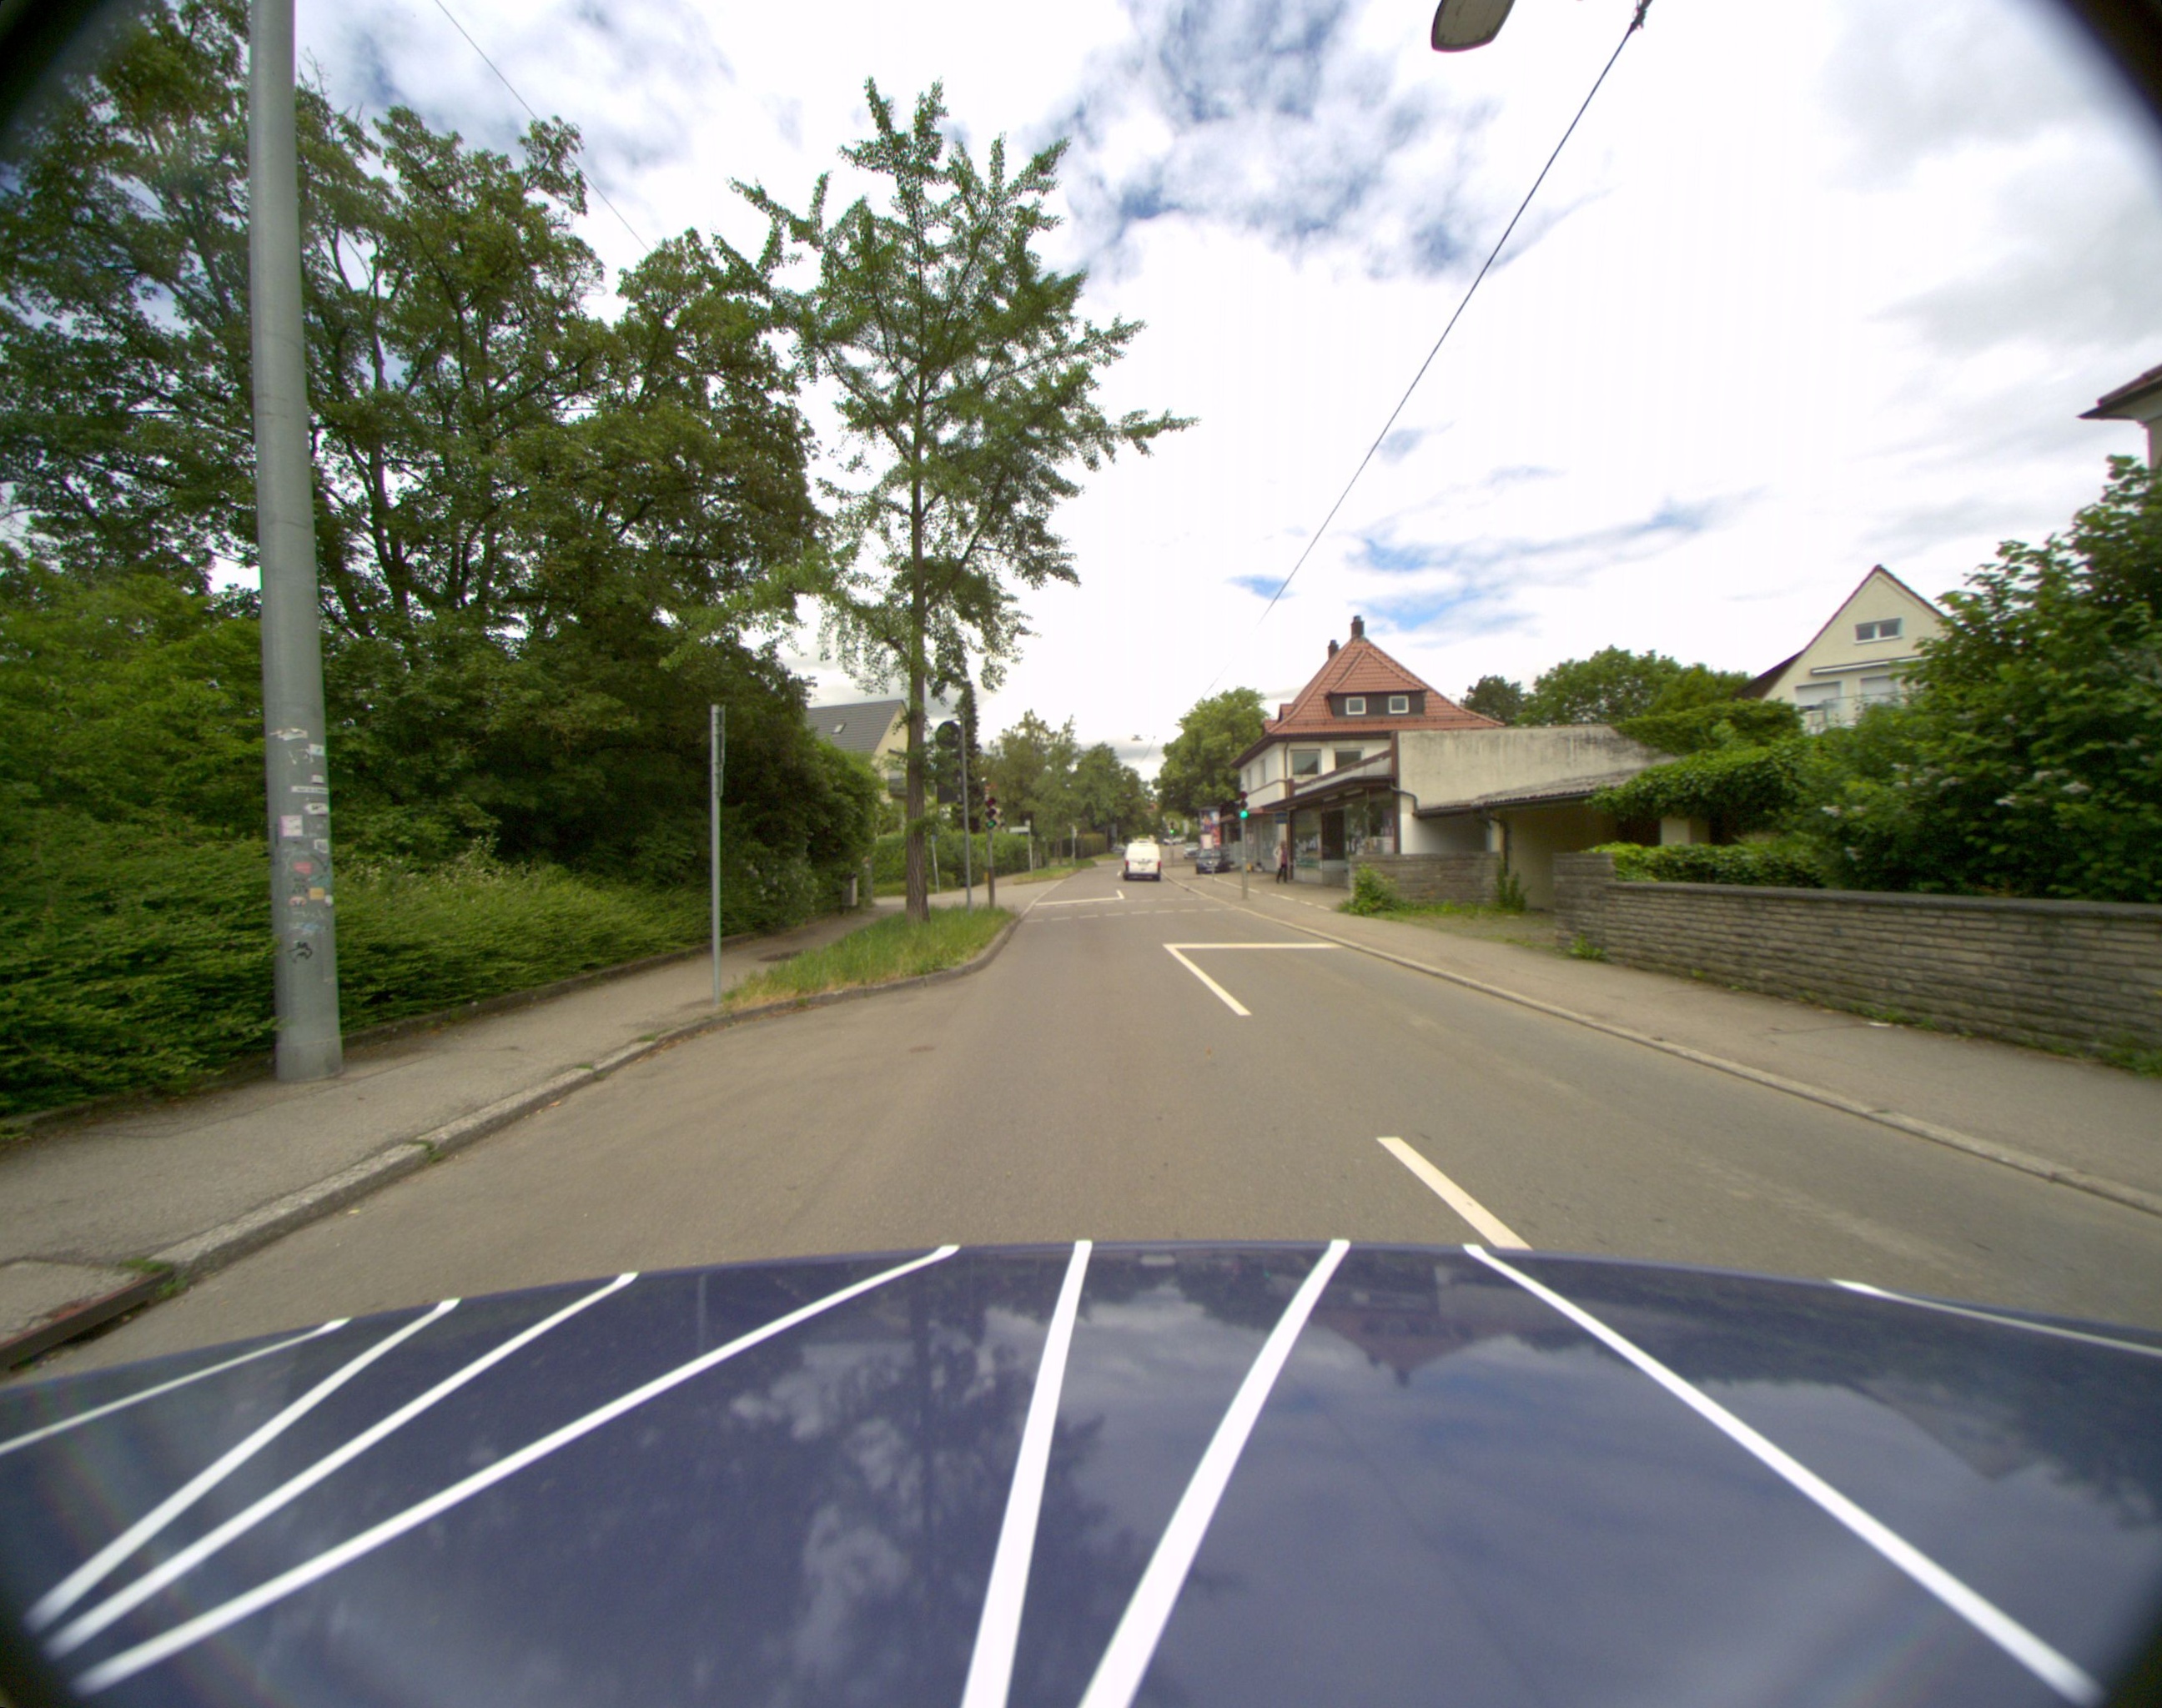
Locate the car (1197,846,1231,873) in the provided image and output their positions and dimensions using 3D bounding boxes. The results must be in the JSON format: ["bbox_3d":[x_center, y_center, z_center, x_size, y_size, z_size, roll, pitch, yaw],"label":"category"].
[{"bbox_3d":[7.780,0.287,44.287,1.822,1.344,3.393,-3,1,11],"label":"car"}]

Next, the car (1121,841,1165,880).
[{"bbox_3d":[3.237,0.298,40.318,1.885,1.905,4.831,-1,1,0],"label":"car"}]

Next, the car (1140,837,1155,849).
[{"bbox_3d":[10.324,-1.754,118.266,1.999,1.687,3.999,-3,1,0],"label":"car"}]

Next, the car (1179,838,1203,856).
[{"bbox_3d":[11.287,-0.749,78.354,1.771,1.668,3.999,-3,1,0],"label":"car"}]

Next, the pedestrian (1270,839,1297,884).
[{"bbox_3d":[8.065,0.275,30.285,0.822,1.735,0.604,-3,2,1],"label":"pedestrian"}]

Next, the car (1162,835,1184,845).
[{"bbox_3d":[17.505,-2.675,144.289,3.993,1.729,2.001,-3,1,13],"label":"car"}]
